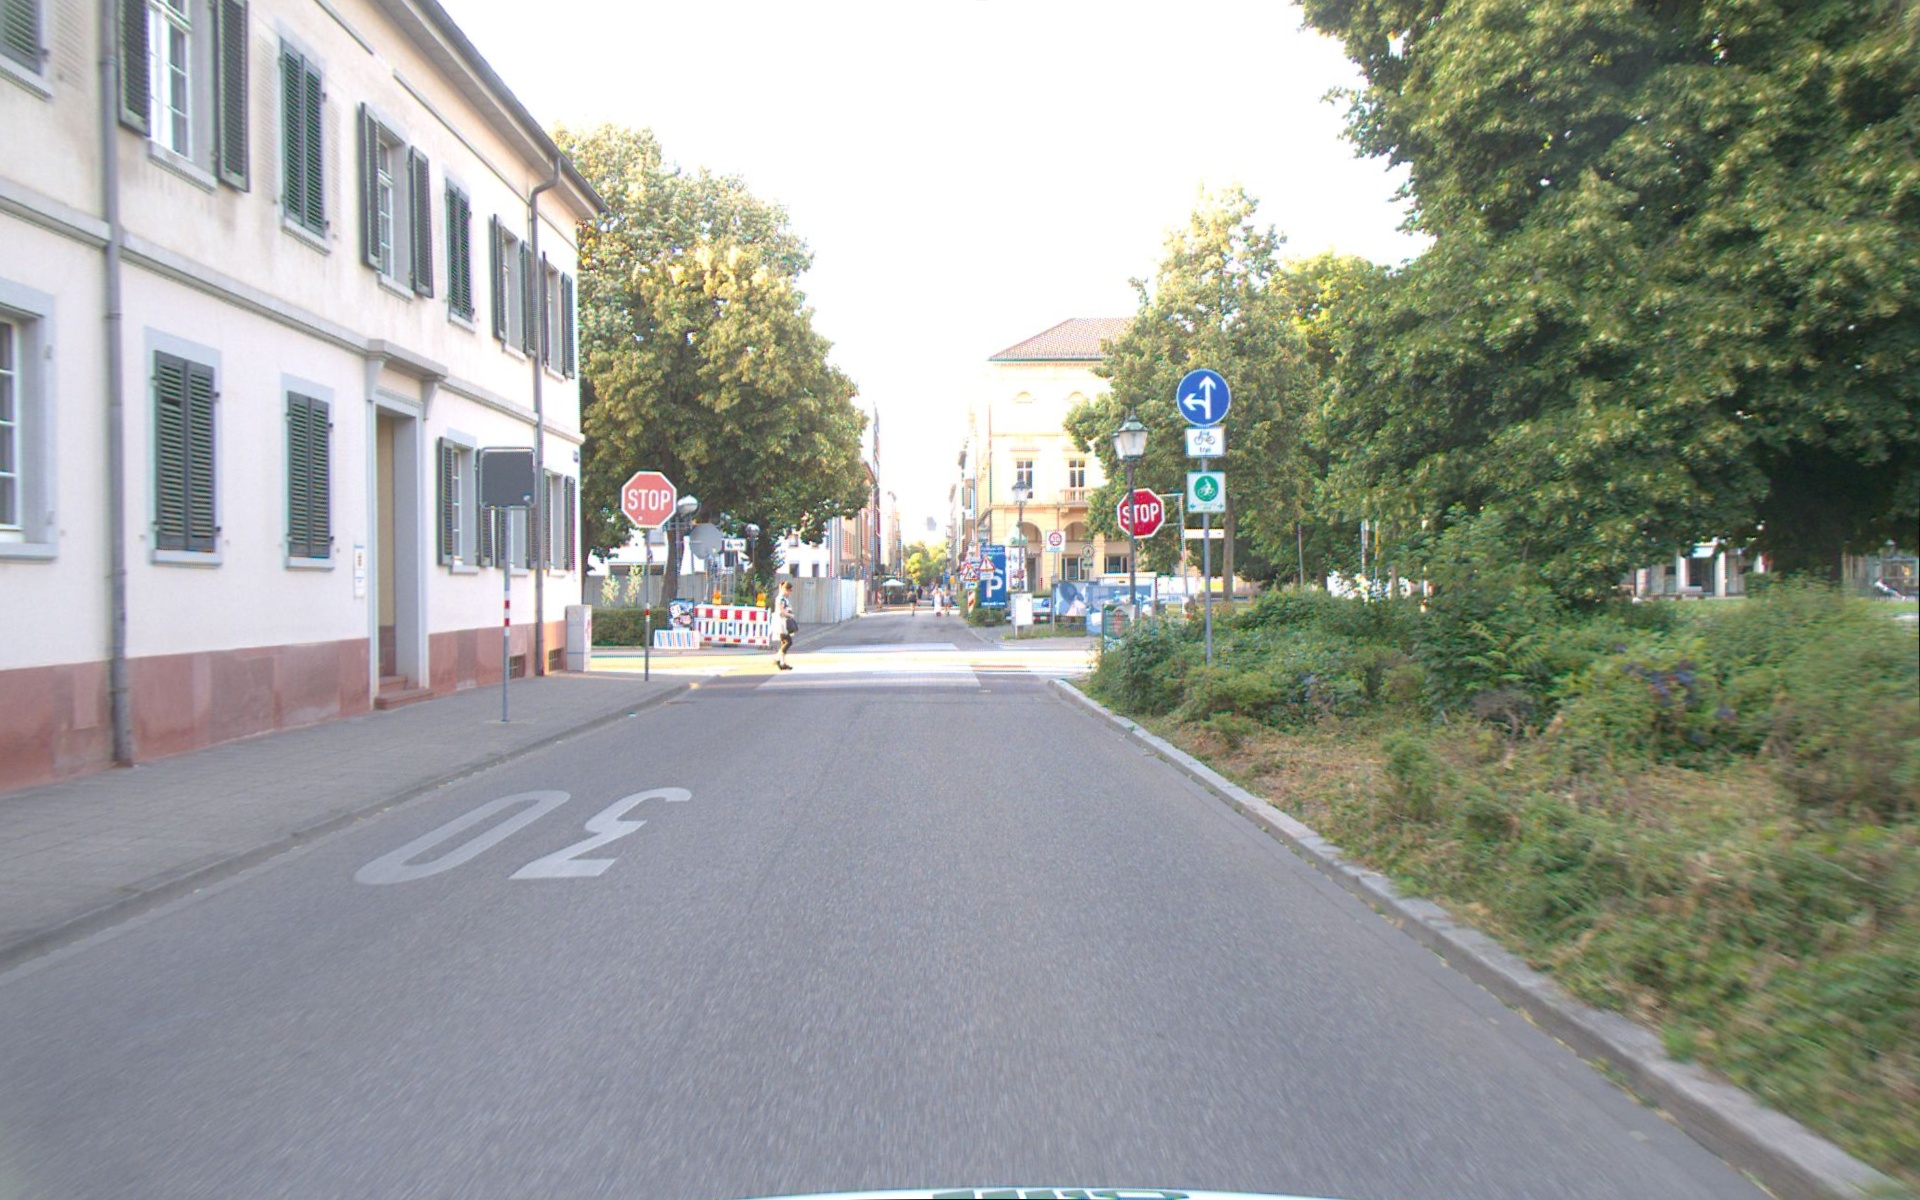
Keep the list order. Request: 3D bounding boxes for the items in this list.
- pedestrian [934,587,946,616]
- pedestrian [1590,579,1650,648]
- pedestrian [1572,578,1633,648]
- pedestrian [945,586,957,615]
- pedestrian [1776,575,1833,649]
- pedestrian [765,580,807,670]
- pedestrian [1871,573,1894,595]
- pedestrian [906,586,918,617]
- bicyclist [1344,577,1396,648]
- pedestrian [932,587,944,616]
[{"bbox_3d":[-1.135,0.105,95.619,0.644,1.664,0.745,-1,0,-1],"label":"pedestrian"},{"bbox_3d":[12.485,0.253,31.313,0.591,1.283,0.864,-1,0,-32],"label":"pedestrian"},{"bbox_3d":[11.989,0.238,30.885,0.674,1.259,0.810,-1,0,-31],"label":"pedestrian"},{"bbox_3d":[-0.522,0.041,94.189,0.644,1.645,0.745,-1,0,-1],"label":"pedestrian"},{"bbox_3d":[16.027,0.221,31.400,0.585,1.365,0.817,-1,0,-7],"label":"pedestrian"},{"bbox_3d":[-3.384,0.476,32.214,0.719,1.719,0.836,-1,0,-2],"label":"pedestrian"},{"bbox_3d":[46.699,-0.812,83.775,0.877,1.096,0.622,-1,0,16],"label":"pedestrian"},{"bbox_3d":[-2.767,0.070,95.512,0.644,1.790,0.745,-1,0,-1],"label":"pedestrian"},{"bbox_3d":[9.721,0.288,39.217,1.041,1.661,0.595,-1,0,-10],"label":"bicyclist"},{"bbox_3d":[-1.230,0.088,94.160,0.644,1.645,0.745,-1,0,-1],"label":"pedestrian"}]
